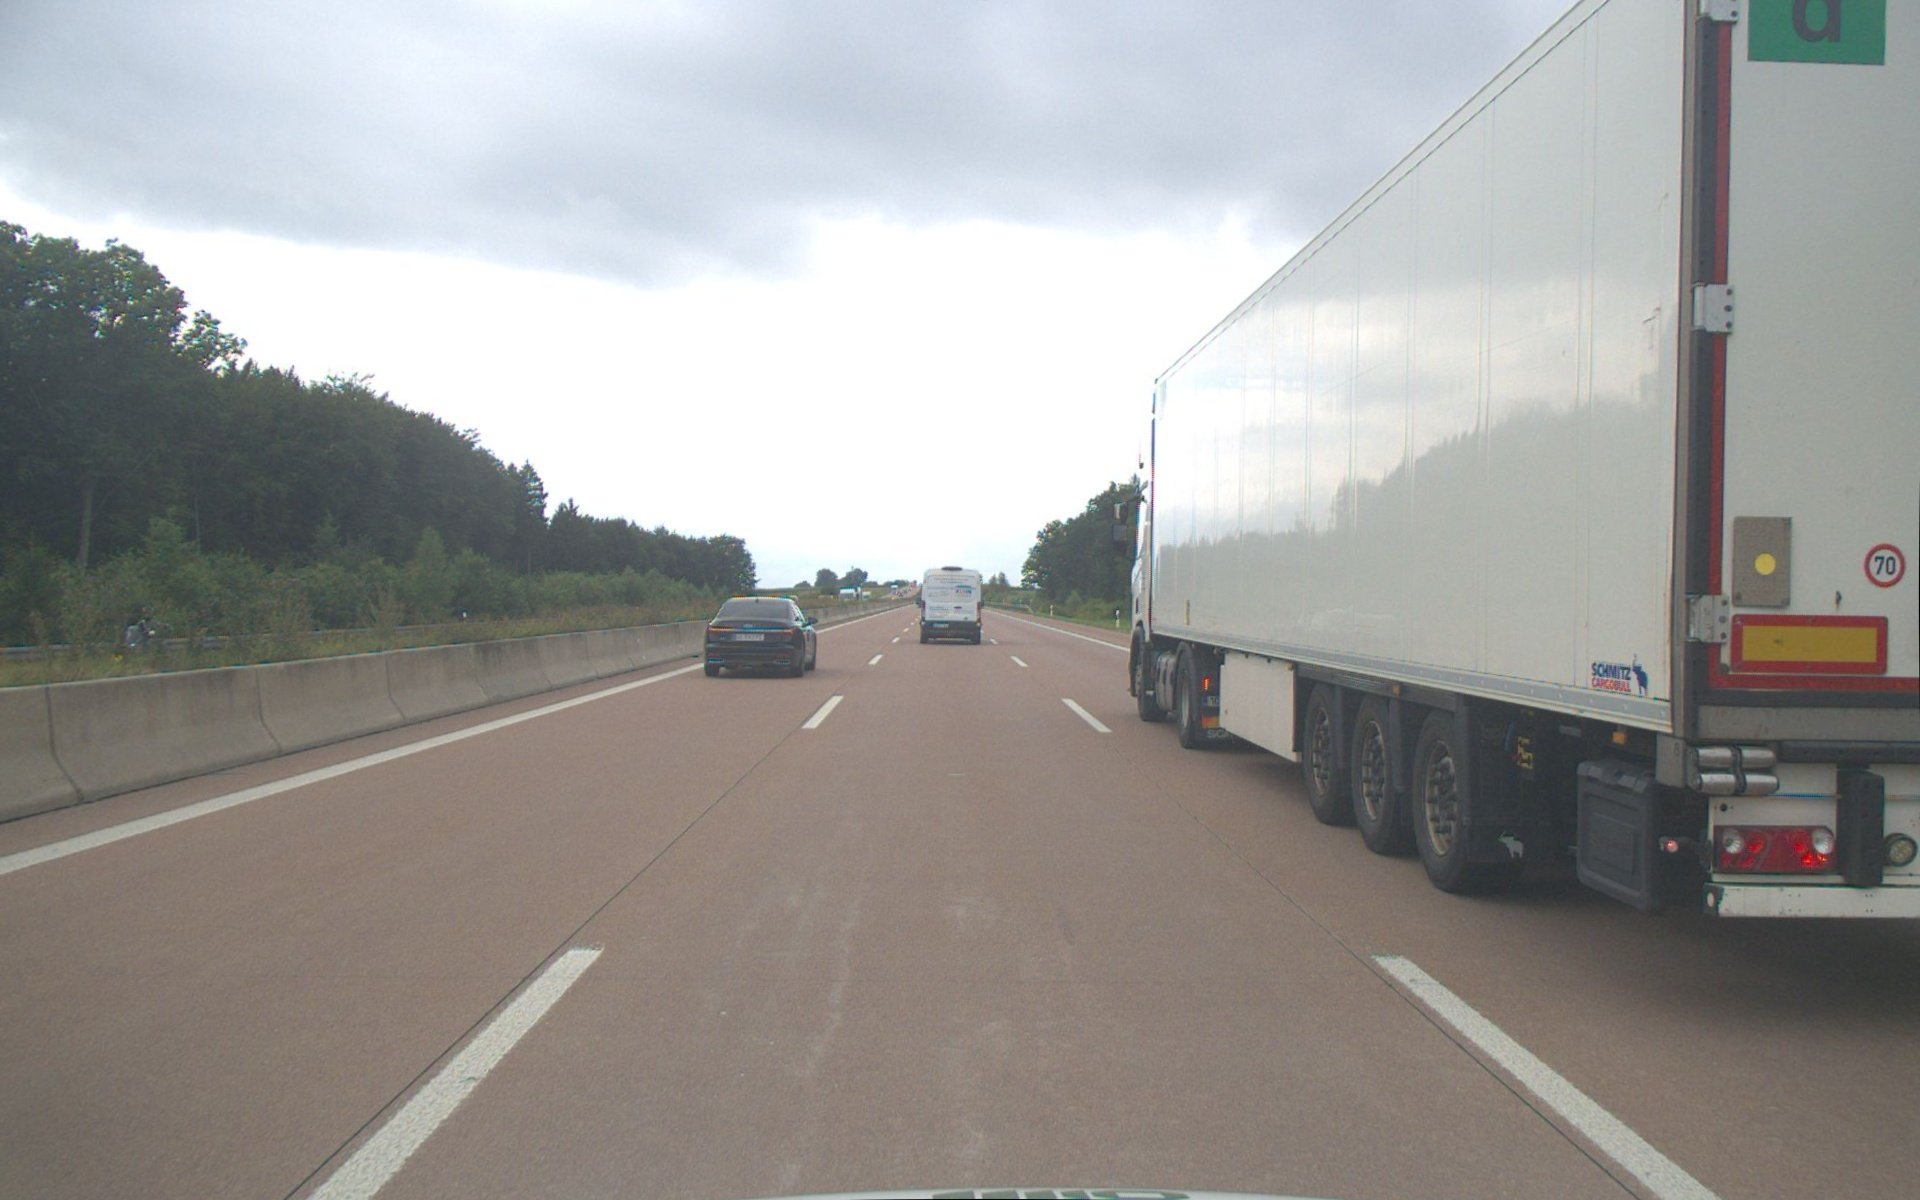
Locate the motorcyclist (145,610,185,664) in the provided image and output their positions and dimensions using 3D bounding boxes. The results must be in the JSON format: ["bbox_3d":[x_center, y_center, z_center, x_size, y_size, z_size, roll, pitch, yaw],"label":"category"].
[{"bbox_3d":[-19.875,0.926,41.354,0.582,1.306,0.801,2,0,-1],"label":"motorcyclist"}]

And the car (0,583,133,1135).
[{"bbox_3d":[-3.620,0.714,2.513,2.017,1.517,5.452,1,0,-1],"label":"car"}]

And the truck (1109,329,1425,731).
[{"bbox_3d":[3.604,-0.767,20.760,2.862,4.369,5.333,0,0,-1],"label":"truck"}]

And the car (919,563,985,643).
[{"bbox_3d":[-0.287,0.049,56.249,2.094,2.551,7.131,0,1,0],"label":"car"}]

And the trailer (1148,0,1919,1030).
[{"bbox_3d":[3.767,-0.721,12.492,2.862,4.369,13.610,0,0,-1],"label":"trailer"}]

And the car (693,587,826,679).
[{"bbox_3d":[-3.796,0.564,32.235,2.043,1.577,5.672,1,0,-2],"label":"car"}]

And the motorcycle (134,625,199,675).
[{"bbox_3d":[-19.888,1.231,41.484,0.588,1.175,2.154,2,0,-1],"label":"motorcycle"}]
